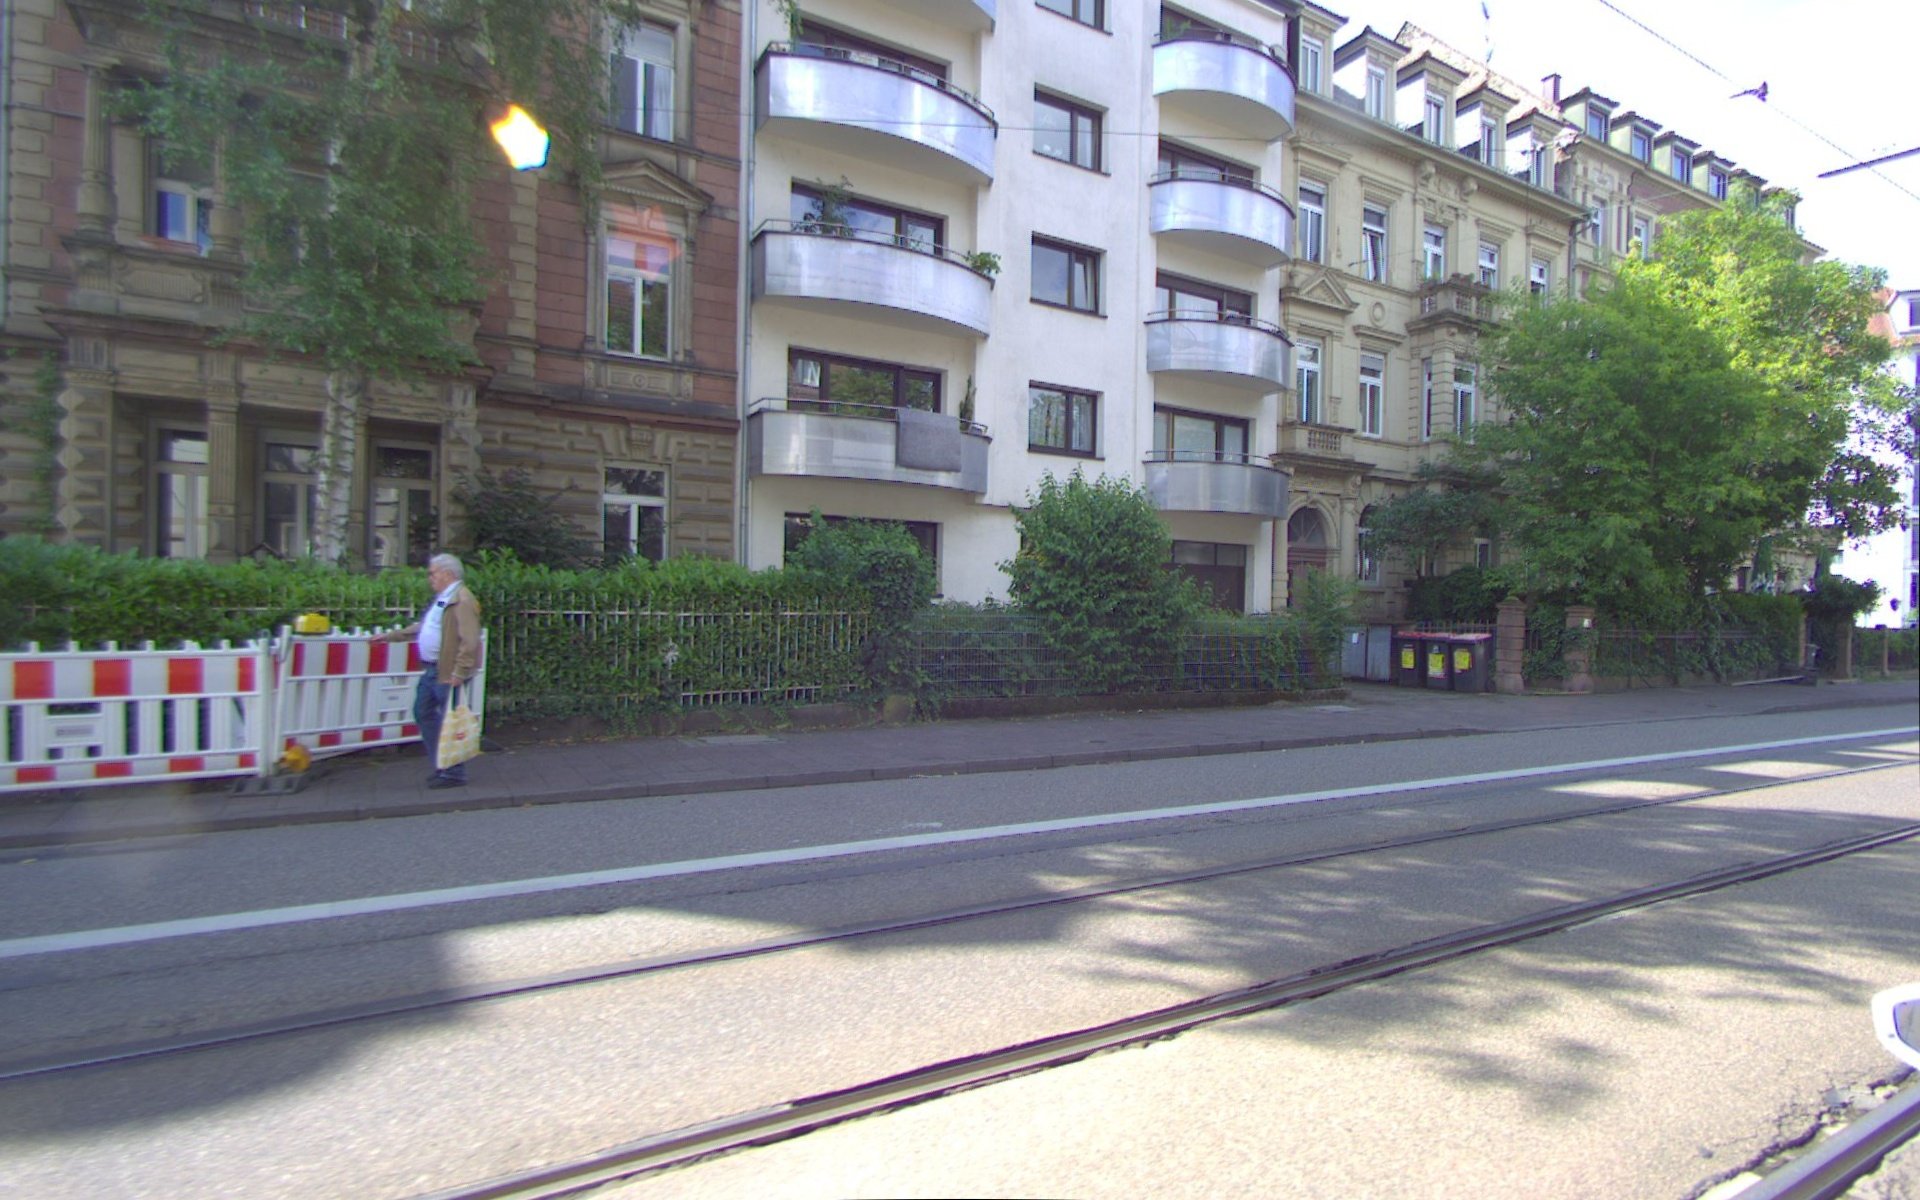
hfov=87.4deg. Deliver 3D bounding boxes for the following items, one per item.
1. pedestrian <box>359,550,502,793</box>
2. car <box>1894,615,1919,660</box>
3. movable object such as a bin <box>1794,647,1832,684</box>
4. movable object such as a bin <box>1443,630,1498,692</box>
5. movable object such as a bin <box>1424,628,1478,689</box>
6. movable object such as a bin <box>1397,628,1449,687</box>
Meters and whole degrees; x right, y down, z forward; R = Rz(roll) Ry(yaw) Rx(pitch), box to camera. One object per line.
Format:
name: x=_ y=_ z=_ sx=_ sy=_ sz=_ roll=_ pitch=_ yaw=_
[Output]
pedestrian: x=-4.092 y=0.516 z=7.746 sx=0.882 sy=1.729 sz=0.817 roll=1 pitch=0 yaw=-34
car: x=45.023 y=1.729 z=44.801 sx=2.009 sy=2.040 sz=4.671 roll=1 pitch=0 yaw=-8
movable object such as a bin: x=21.605 y=1.652 z=25.428 sx=0.609 sy=0.888 sz=0.559 roll=1 pitch=0 yaw=-30
movable object such as a bin: x=9.474 y=1.123 z=18.653 sx=0.779 sy=1.109 sz=0.536 roll=1 pitch=0 yaw=-26
movable object such as a bin: x=9.400 y=1.117 z=19.243 sx=0.779 sy=1.123 sz=0.547 roll=1 pitch=0 yaw=-26
movable object such as a bin: x=9.084 y=1.119 z=19.721 sx=0.779 sy=1.123 sz=0.547 roll=1 pitch=0 yaw=-26
